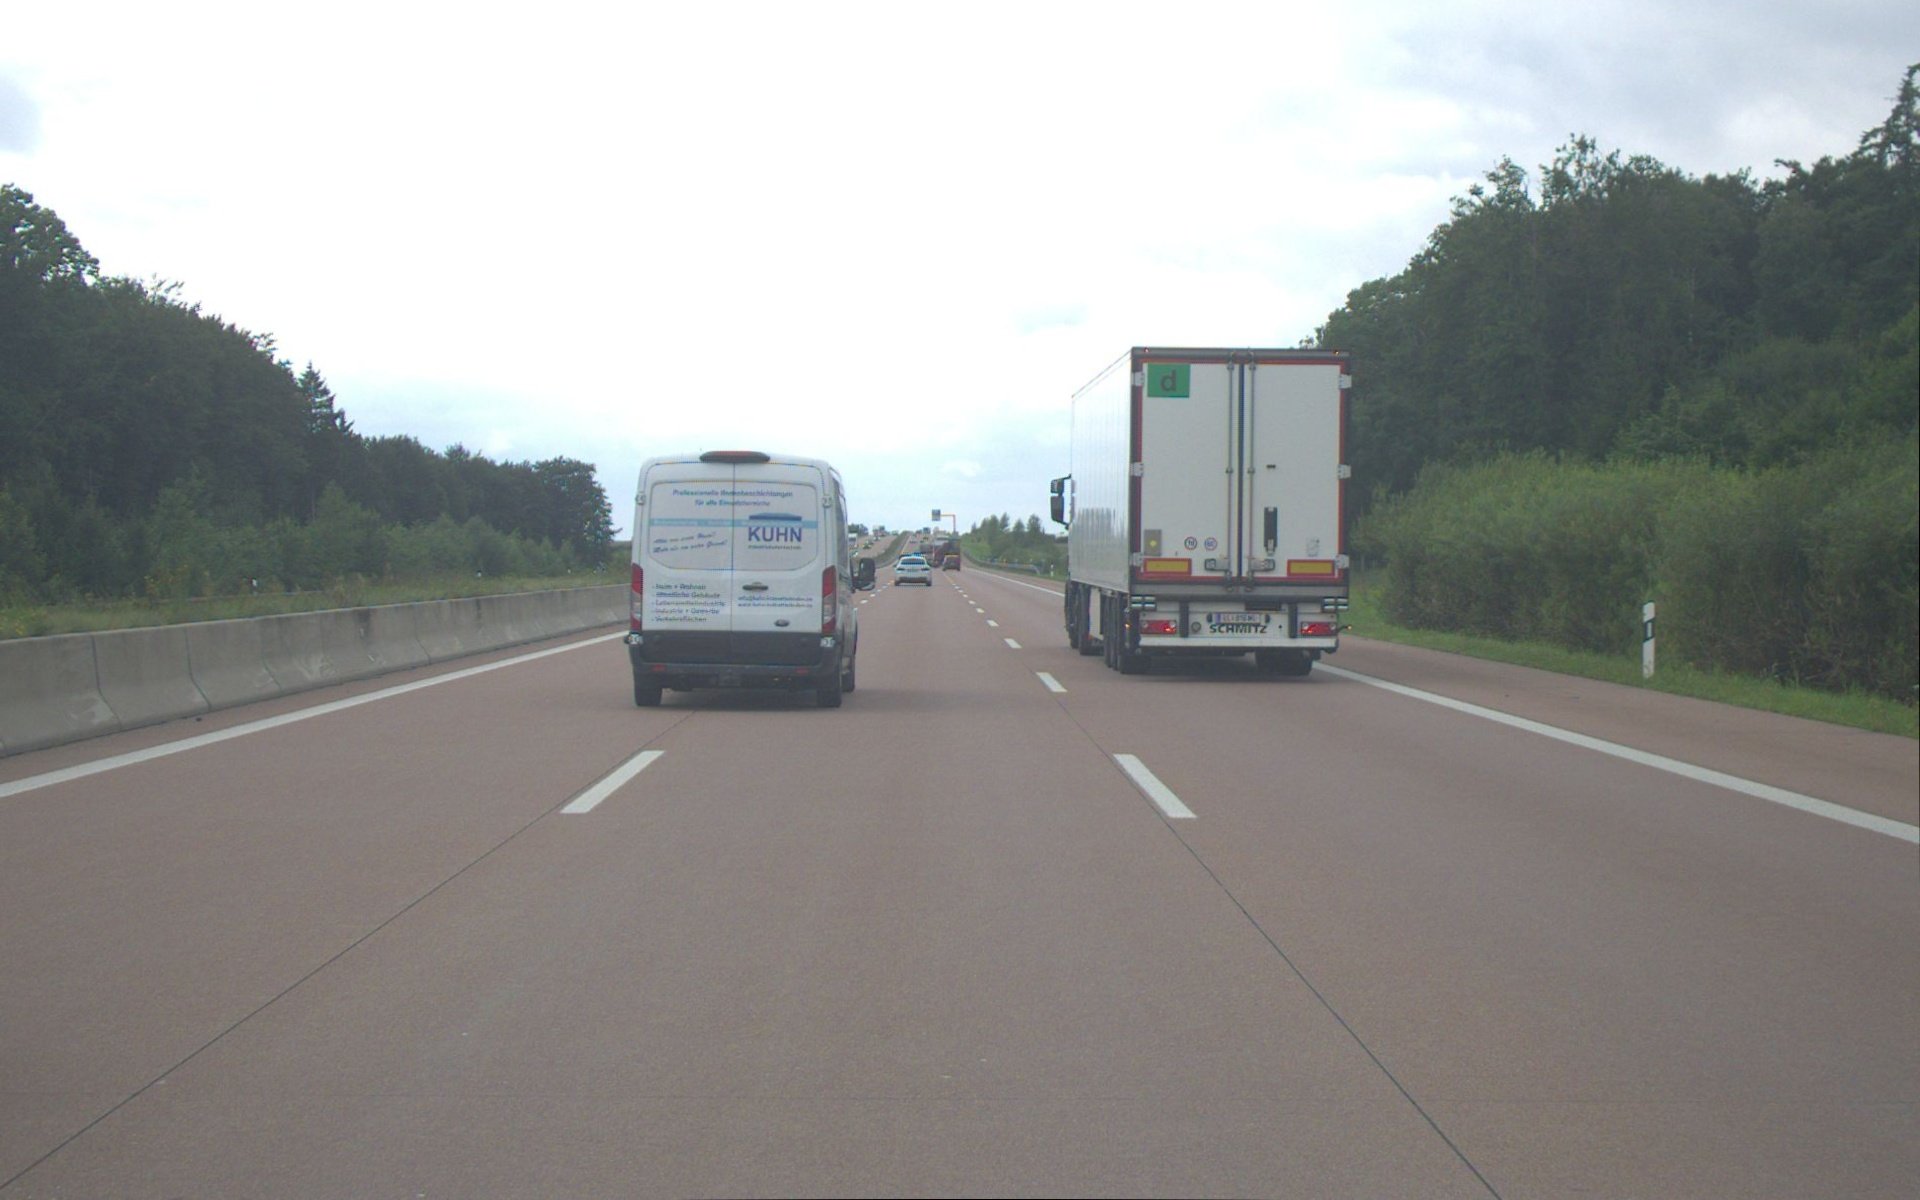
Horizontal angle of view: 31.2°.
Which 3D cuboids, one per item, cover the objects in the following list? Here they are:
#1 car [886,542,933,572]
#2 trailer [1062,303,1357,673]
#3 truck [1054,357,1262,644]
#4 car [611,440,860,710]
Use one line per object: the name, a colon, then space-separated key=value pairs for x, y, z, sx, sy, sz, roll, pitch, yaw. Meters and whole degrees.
car: x=-2.521 y=-2.185 z=173.685 sx=2.163 sy=1.446 sz=4.719 roll=2 pitch=1 yaw=1
trailer: x=3.098 y=-1.391 z=46.679 sx=2.921 sy=4.279 sz=13.614 roll=0 pitch=1 yaw=0
truck: x=3.042 y=-1.524 z=54.173 sx=2.921 sy=4.279 sz=5.335 roll=0 pitch=1 yaw=0
car: x=-2.183 y=-0.311 z=35.433 sx=2.137 sy=2.498 sz=7.132 roll=0 pitch=1 yaw=0
